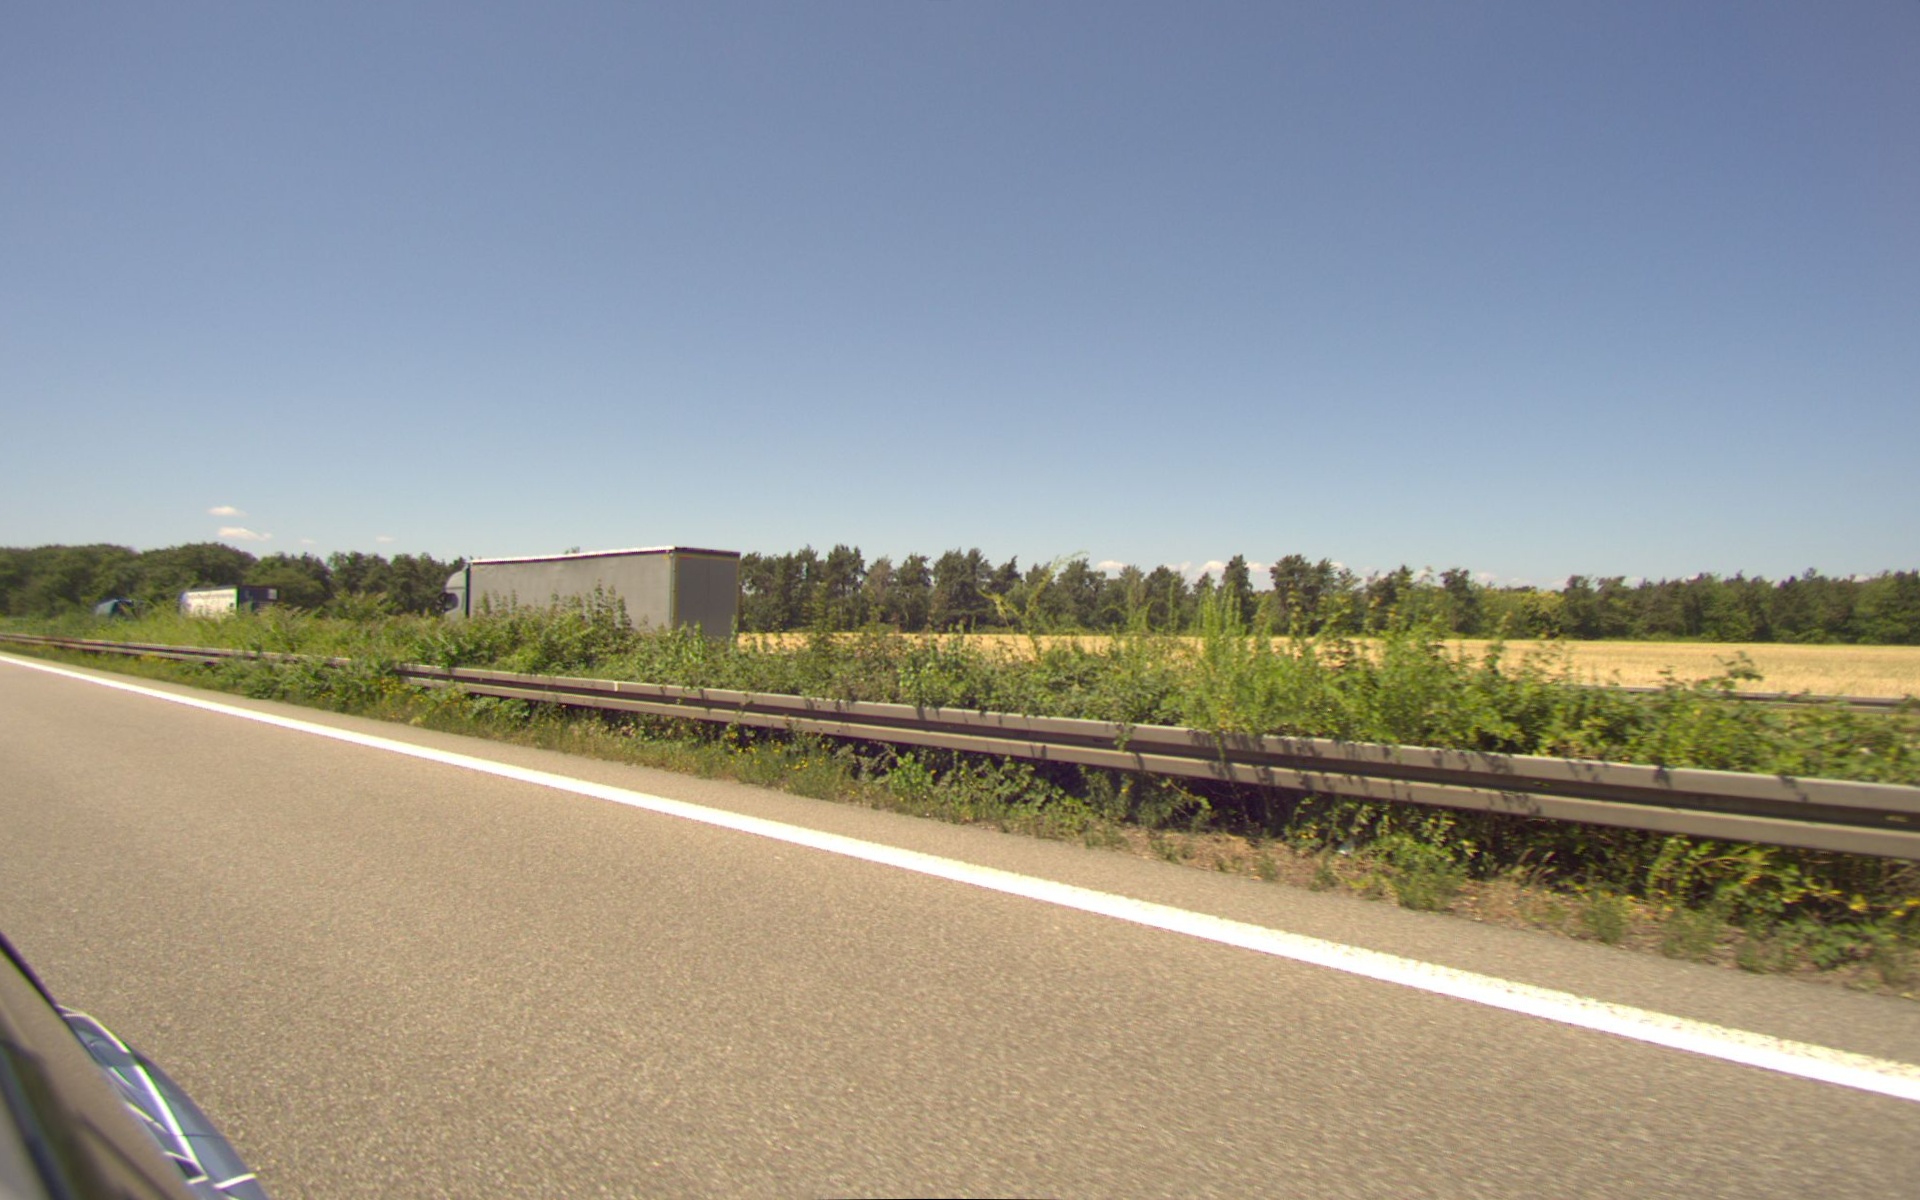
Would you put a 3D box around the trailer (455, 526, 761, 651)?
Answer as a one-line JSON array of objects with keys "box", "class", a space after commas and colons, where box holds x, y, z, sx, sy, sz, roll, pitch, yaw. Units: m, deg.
[{"box": [-13.025, -0.239, 36.005, 14.369, 3.726, 3.316, -1, 0, 40], "class": "trailer"}]

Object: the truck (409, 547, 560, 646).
[{"box": [-19.505, -0.097, 41.407, 6.059, 3.726, 3.316, -1, 0, 40], "class": "truck"}]

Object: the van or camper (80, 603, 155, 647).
[{"box": [-64.269, 1.882, 77.092, 11.505, 3.125, 2.583, -1, -2, 41], "class": "van or camper"}]

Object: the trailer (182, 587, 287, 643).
[{"box": [-52.517, 1.117, 72.978, 14.377, 3.726, 3.077, -1, 0, 42], "class": "trailer"}]
